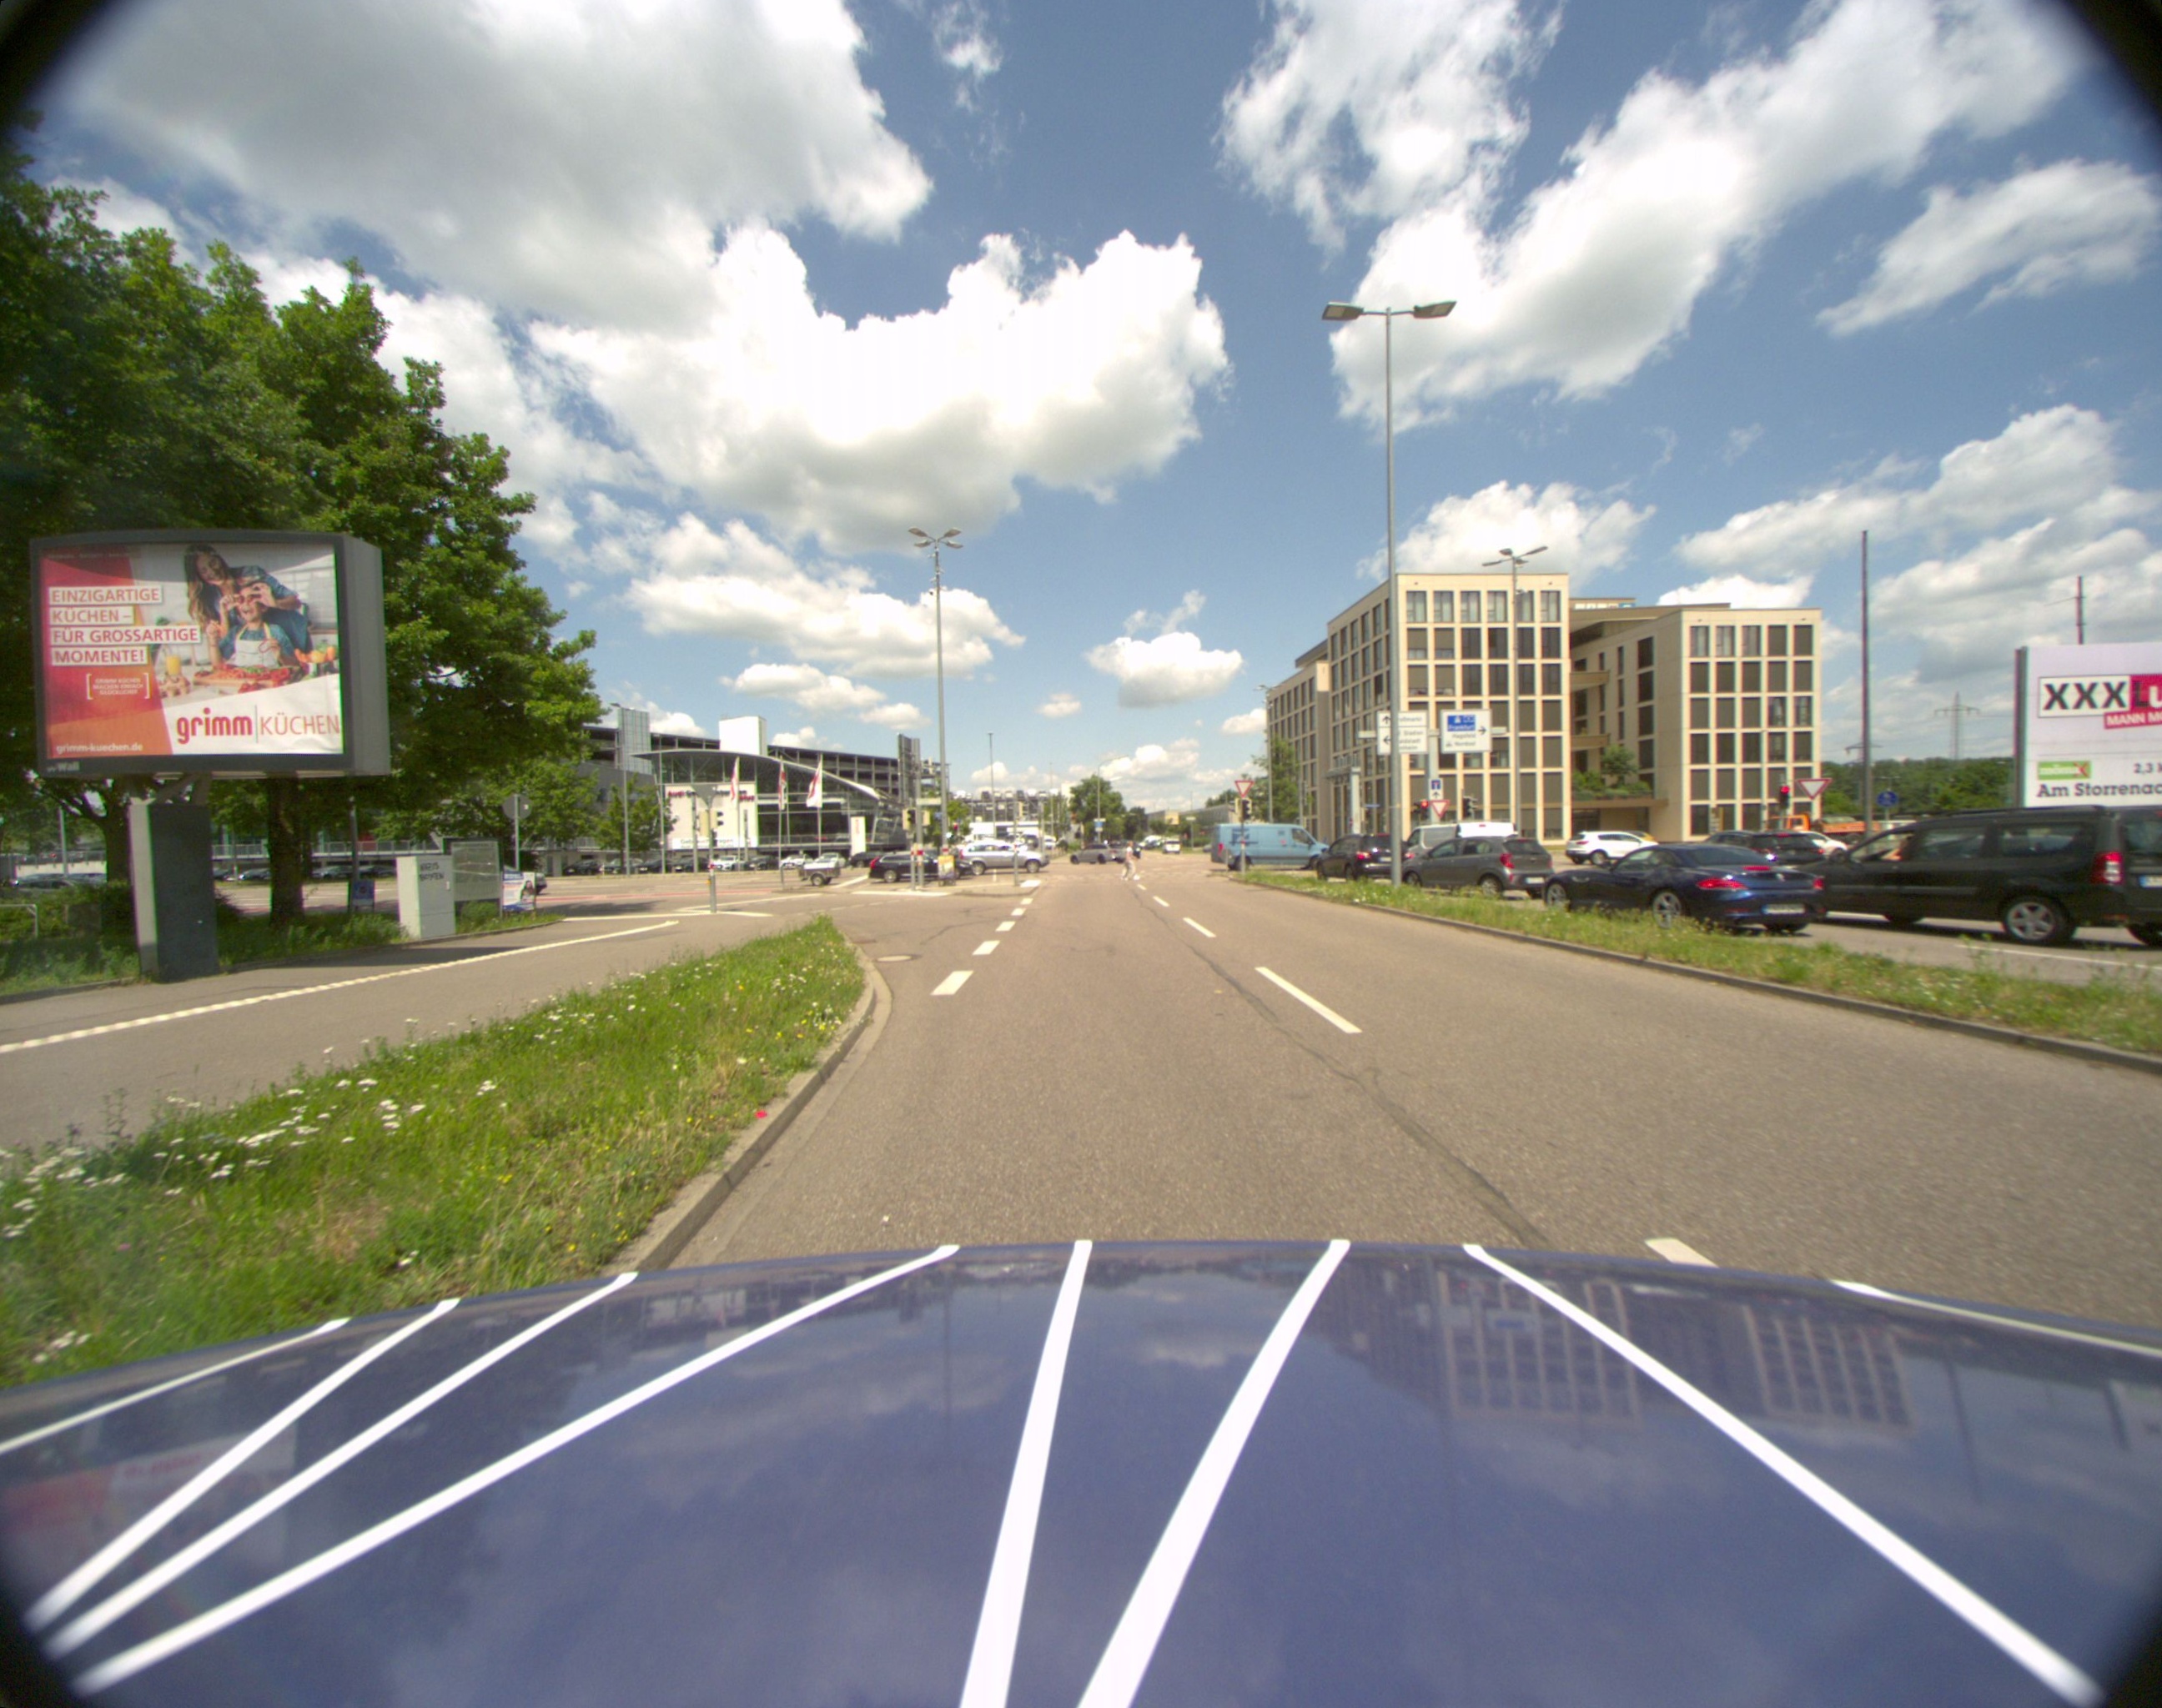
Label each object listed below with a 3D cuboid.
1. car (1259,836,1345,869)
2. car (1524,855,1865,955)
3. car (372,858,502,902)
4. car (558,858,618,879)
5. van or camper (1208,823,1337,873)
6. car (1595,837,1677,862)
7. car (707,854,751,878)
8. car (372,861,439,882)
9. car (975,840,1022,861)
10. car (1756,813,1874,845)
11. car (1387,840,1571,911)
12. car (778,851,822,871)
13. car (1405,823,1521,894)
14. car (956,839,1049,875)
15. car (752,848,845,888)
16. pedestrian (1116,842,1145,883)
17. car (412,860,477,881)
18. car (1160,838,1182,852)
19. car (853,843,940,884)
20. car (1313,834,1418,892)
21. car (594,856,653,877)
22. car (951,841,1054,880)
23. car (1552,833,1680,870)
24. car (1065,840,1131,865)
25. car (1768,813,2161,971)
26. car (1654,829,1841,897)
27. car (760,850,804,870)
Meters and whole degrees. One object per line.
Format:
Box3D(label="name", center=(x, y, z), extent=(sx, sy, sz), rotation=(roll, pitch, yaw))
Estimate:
Box3D(label="car", center=(12.072, -0.118, 41.737), extent=(4.179, 1.718, 1.863), rotation=(-1, 1, 0))
Box3D(label="car", center=(9.055, 0.656, 11.801), extent=(1.796, 1.243, 4.306), rotation=(-1, 0, 0))
Box3D(label="car", center=(-29.742, 1.179, 35.219), extent=(4.190, 1.719, 1.861), rotation=(-2, 3, -4))
Box3D(label="car", center=(-38.999, 1.129, 60.229), extent=(1.795, 1.543, 4.002), rotation=(-1, 0, 9))
Box3D(label="van or camper", center=(9.435, -0.303, 37.743), extent=(5.848, 2.367, 1.999), rotation=(-1, 1, -4))
Box3D(label="car", center=(38.272, -0.316, 52.466), extent=(4.310, 1.622, 1.999), rotation=(-1, 0, -5))
Box3D(label="car", center=(-28.209, 0.951, 61.005), extent=(1.862, 1.718, 3.758), rotation=(-2, 1, -2))
Box3D(label="car", center=(-53.374, 1.352, 60.134), extent=(1.796, 1.543, 3.999), rotation=(-1, 0, -1))
Box3D(label="car", center=(-7.318, -0.300, 67.494), extent=(3.998, 1.772, 1.999), rotation=(-1, 0, -4))
Box3D(label="car", center=(60.144, -2.022, 62.376), extent=(6.526, 2.314, 2.856), rotation=(-1, -1, 7))
Box3D(label="car", center=(9.592, 0.480, 18.656), extent=(1.799, 1.551, 3.764), rotation=(-1, 0, -20))
Box3D(label="car", center=(-22.705, 0.525, 61.561), extent=(1.840, 1.565, 4.001), rotation=(-1, 0, 5))
Box3D(label="car", center=(11.840, 0.125, 23.842), extent=(1.862, 2.031, 3.576), rotation=(-1, 0, 1))
Box3D(label="car", center=(-4.124, 0.119, 40.532), extent=(4.753, 1.718, 1.862), rotation=(-2, 2, -4))
Box3D(label="car", center=(-13.454, 0.644, 36.337), extent=(3.758, 1.719, 1.672), rotation=(-2, 3, -4))
Box3D(label="pedestrian", center=(2.047, 0.333, 31.502), extent=(0.840, 1.642, 0.970), rotation=(-2, 1, -16))
Box3D(label="car", center=(-50.529, 1.307, 60.384), extent=(1.796, 1.543, 3.999), rotation=(-1, 0, -1))
Box3D(label="car", center=(11.560, -1.216, 97.574), extent=(2.290, 1.708, 4.482), rotation=(-1, 1, 1))
Box3D(label="car", center=(-8.832, 0.429, 36.659), extent=(3.758, 1.719, 1.861), rotation=(-2, 3, -4))
Box3D(label="car", center=(8.791, 0.258, 23.877), extent=(1.796, 1.635, 4.170), rotation=(-1, 0, 1))
Box3D(label="car", center=(-36.130, 0.966, 60.135), extent=(1.795, 1.543, 4.002), rotation=(-1, 0, 9))
Box3D(label="car", center=(-3.779, 0.288, 37.097), extent=(4.820, 1.571, 1.999), rotation=(-3, 2, -4))
Box3D(label="car", center=(26.486, -0.130, 37.732), extent=(5.023, 1.718, 1.863), rotation=(-1, 1, 0))
Box3D(label="car", center=(1.153, -0.106, 52.951), extent=(2.004, 1.622, 4.688), rotation=(-1, 0, -40))
Box3D(label="car", center=(12.101, 0.404, 10.255), extent=(1.796, 1.691, 4.227), rotation=(-1, 0, 0))
Box3D(label="car", center=(18.400, 0.231, 21.242), extent=(1.796, 1.691, 3.870), rotation=(-1, 0, 0))
Box3D(label="car", center=(-24.912, 0.483, 63.477), extent=(1.840, 1.565, 4.001), rotation=(-1, 0, 5))
